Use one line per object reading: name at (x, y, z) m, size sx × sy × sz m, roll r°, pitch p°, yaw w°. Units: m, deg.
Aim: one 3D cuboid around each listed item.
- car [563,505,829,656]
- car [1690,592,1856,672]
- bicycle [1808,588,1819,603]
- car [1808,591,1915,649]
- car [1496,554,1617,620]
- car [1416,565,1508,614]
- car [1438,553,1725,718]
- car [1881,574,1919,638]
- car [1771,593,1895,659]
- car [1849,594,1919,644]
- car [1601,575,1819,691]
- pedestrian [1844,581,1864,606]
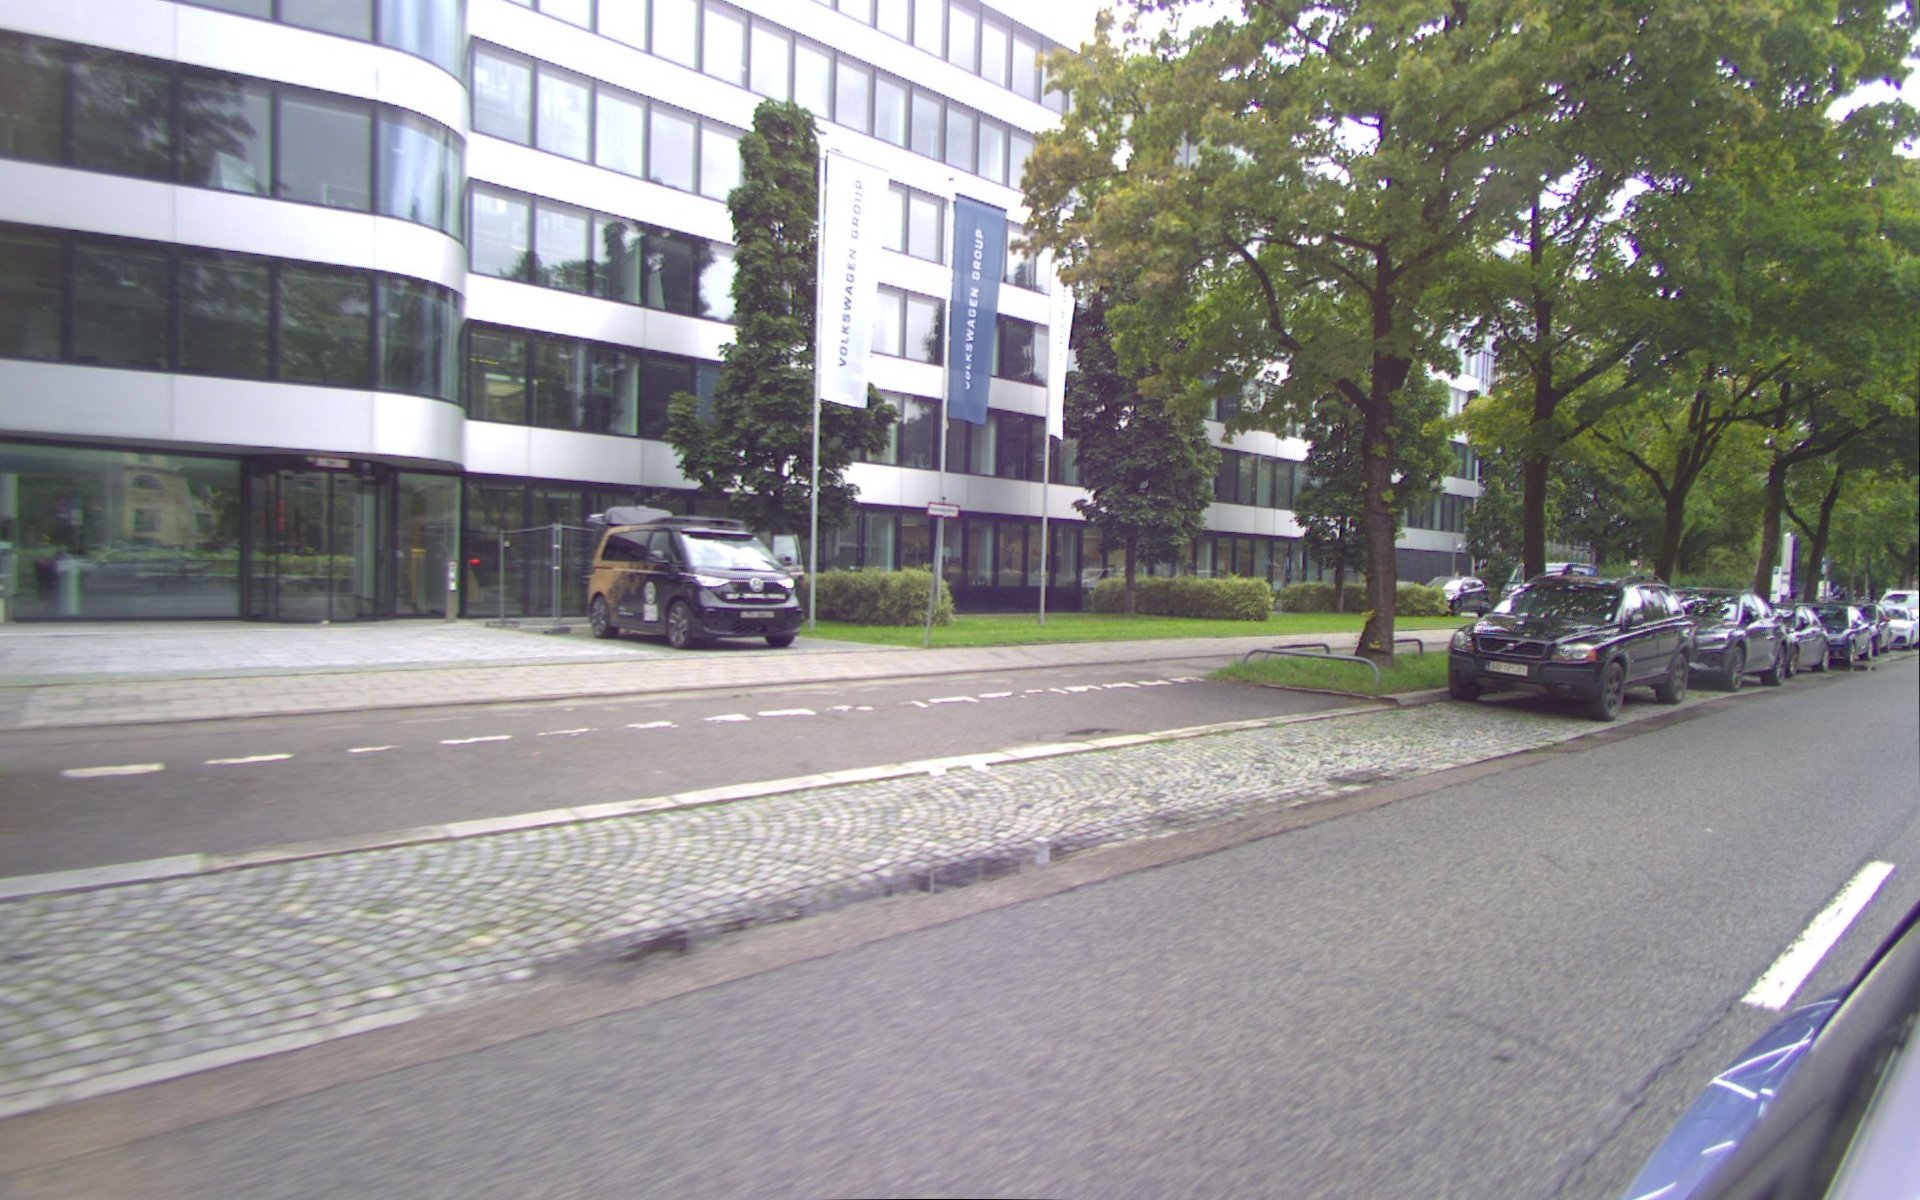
car at (-4.609, -0.389, 16.960) m, size 2.109 × 2.109 × 5.481 m, roll 0°, pitch 2°, yaw -41°
car at (17.039, 0.602, 21.139) m, size 4.430 × 1.425 × 1.707 m, roll 0°, pitch 3°, yaw -38°
bicycle at (71.027, -0.387, 84.213) m, size 1.922 × 1.203 × 0.446 m, roll 0°, pitch 2°, yaw -44°
car at (25.647, 0.535, 28.747) m, size 3.908 × 1.464 × 1.706 m, roll 0°, pitch 3°, yaw -40°
car at (23.155, -0.510, 39.162) m, size 6.161 × 2.335 × 2.268 m, roll 0°, pitch 3°, yaw -43°
car at (20.560, -0.419, 41.389) m, size 4.396 × 1.840 × 1.845 m, roll 0°, pitch 3°, yaw -43°
car at (8.501, 0.371, 13.655) m, size 4.776 × 1.822 × 1.897 m, roll 0°, pitch 3°, yaw -41°
car at (34.849, 0.223, 36.277) m, size 5.457 × 2.184 × 1.992 m, roll 0°, pitch 3°, yaw -40°
car at (21.870, 0.597, 25.304) m, size 4.048 × 1.438 × 1.706 m, roll 0°, pitch 3°, yaw -40°
car at (29.987, 0.572, 32.384) m, size 4.158 × 1.414 × 1.706 m, roll 0°, pitch 3°, yaw -40°
car at (13.032, 0.486, 17.477) m, size 4.712 × 1.696 × 1.818 m, roll 0°, pitch 3°, yaw -39°
pedestrian at (64.093, -0.460, 72.563) m, size 0.735 × 1.735 × 0.787 m, roll 1°, pitch 2°, yaw -26°
